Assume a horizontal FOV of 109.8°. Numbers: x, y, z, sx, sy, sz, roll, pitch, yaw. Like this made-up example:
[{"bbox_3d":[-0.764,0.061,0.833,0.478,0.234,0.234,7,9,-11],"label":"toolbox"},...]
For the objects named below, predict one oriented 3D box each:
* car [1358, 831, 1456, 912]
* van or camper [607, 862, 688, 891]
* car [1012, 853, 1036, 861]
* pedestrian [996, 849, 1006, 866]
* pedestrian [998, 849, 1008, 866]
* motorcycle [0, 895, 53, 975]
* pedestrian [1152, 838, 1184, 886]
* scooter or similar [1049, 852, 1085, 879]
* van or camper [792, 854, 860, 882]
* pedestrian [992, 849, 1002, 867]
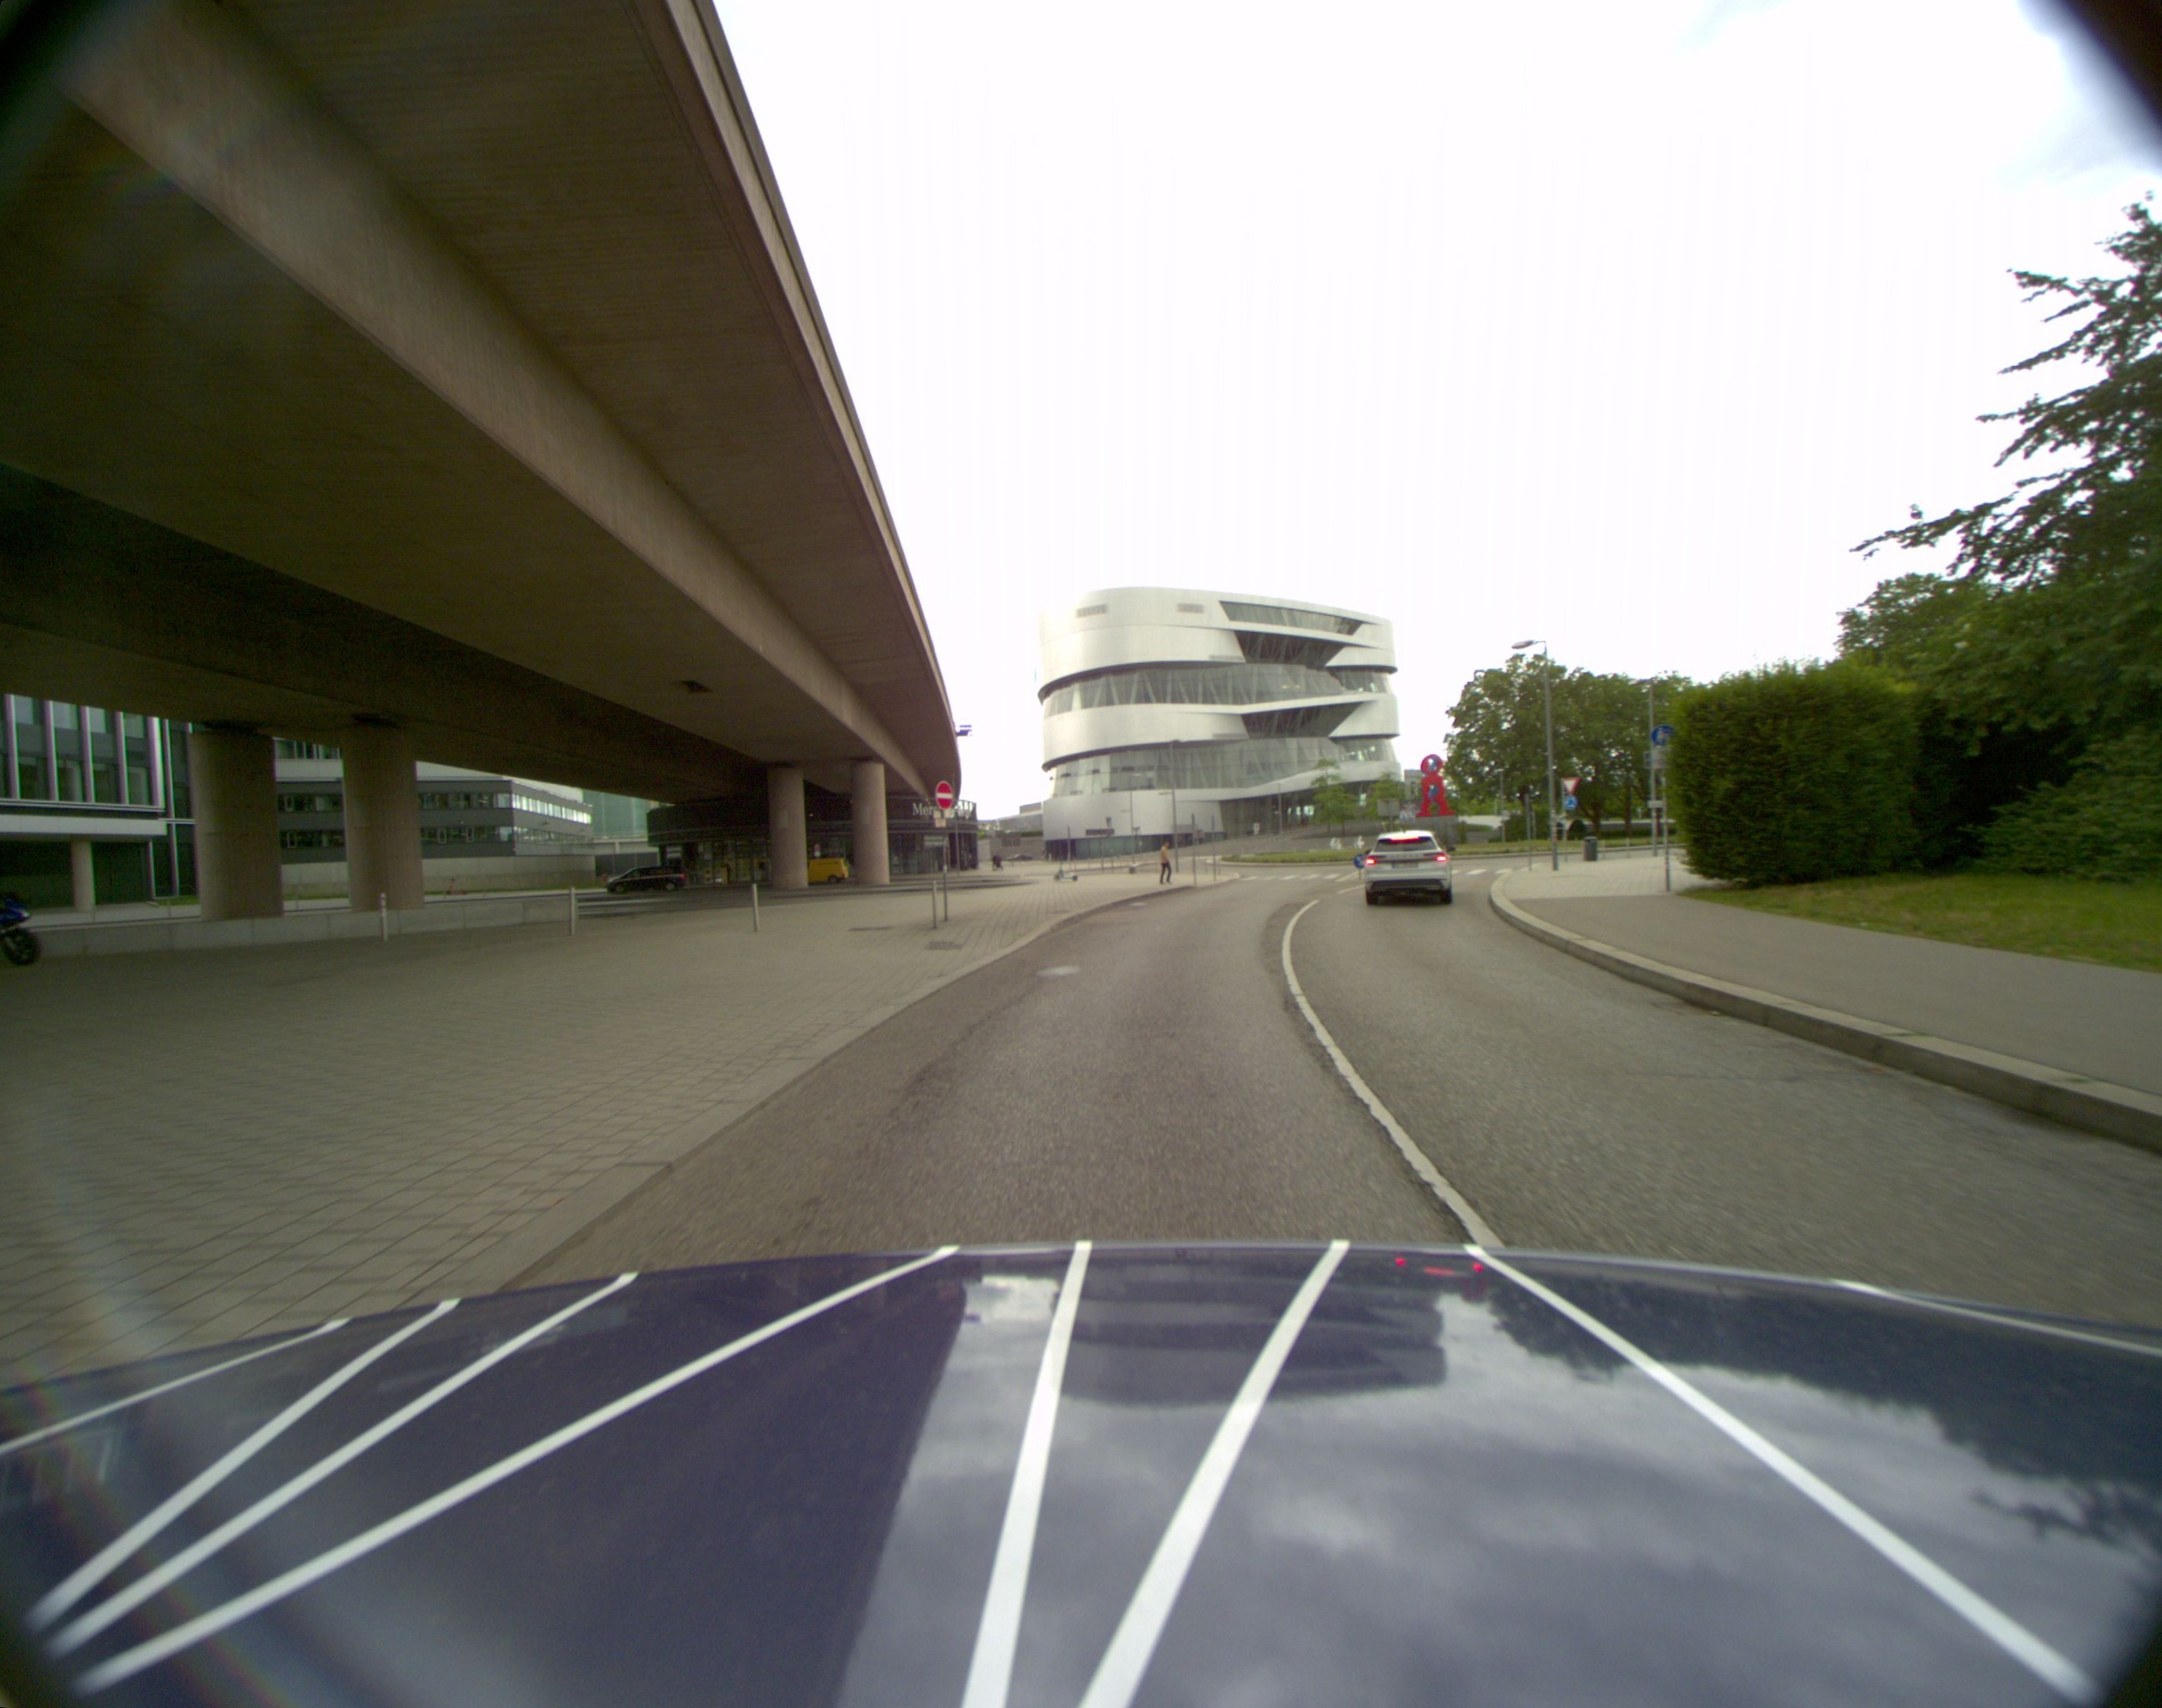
[{"bbox_3d":[7.913,0.344,18.281,1.866,1.674,4.412,-2,0,25],"label":"car"},{"bbox_3d":[-31.620,1.611,55.624,4.907,1.881,2.150,-2,-1,-24],"label":"van or camper"},{"bbox_3d":[-12.151,0.615,161.173,4.909,1.390,1.534,-2,-1,-12],"label":"car"},{"bbox_3d":[-8.028,0.360,76.146,0.773,1.695,0.786,-2,0,-22],"label":"pedestrian"},{"bbox_3d":[-7.728,0.351,75.337,0.773,1.695,0.864,-2,0,-22],"label":"pedestrian"},{"bbox_3d":[-18.065,1.331,12.121,1.943,1.257,0.547,-2,0,-24],"label":"motorcycle"},{"bbox_3d":[3.695,0.328,32.405,1.041,2.001,0.783,-2,0,-23],"label":"pedestrian"},{"bbox_3d":[-0.686,0.579,37.695,1.646,1.288,0.519,-2,0,13],"label":"scooter or similar"},{"bbox_3d":[-19.806,1.079,59.228,4.503,1.988,2.361,-2,1,-4],"label":"van or camper"},{"bbox_3d":[-8.495,0.408,76.968,0.784,1.787,0.864,-2,0,-21],"label":"pedestrian"}]
